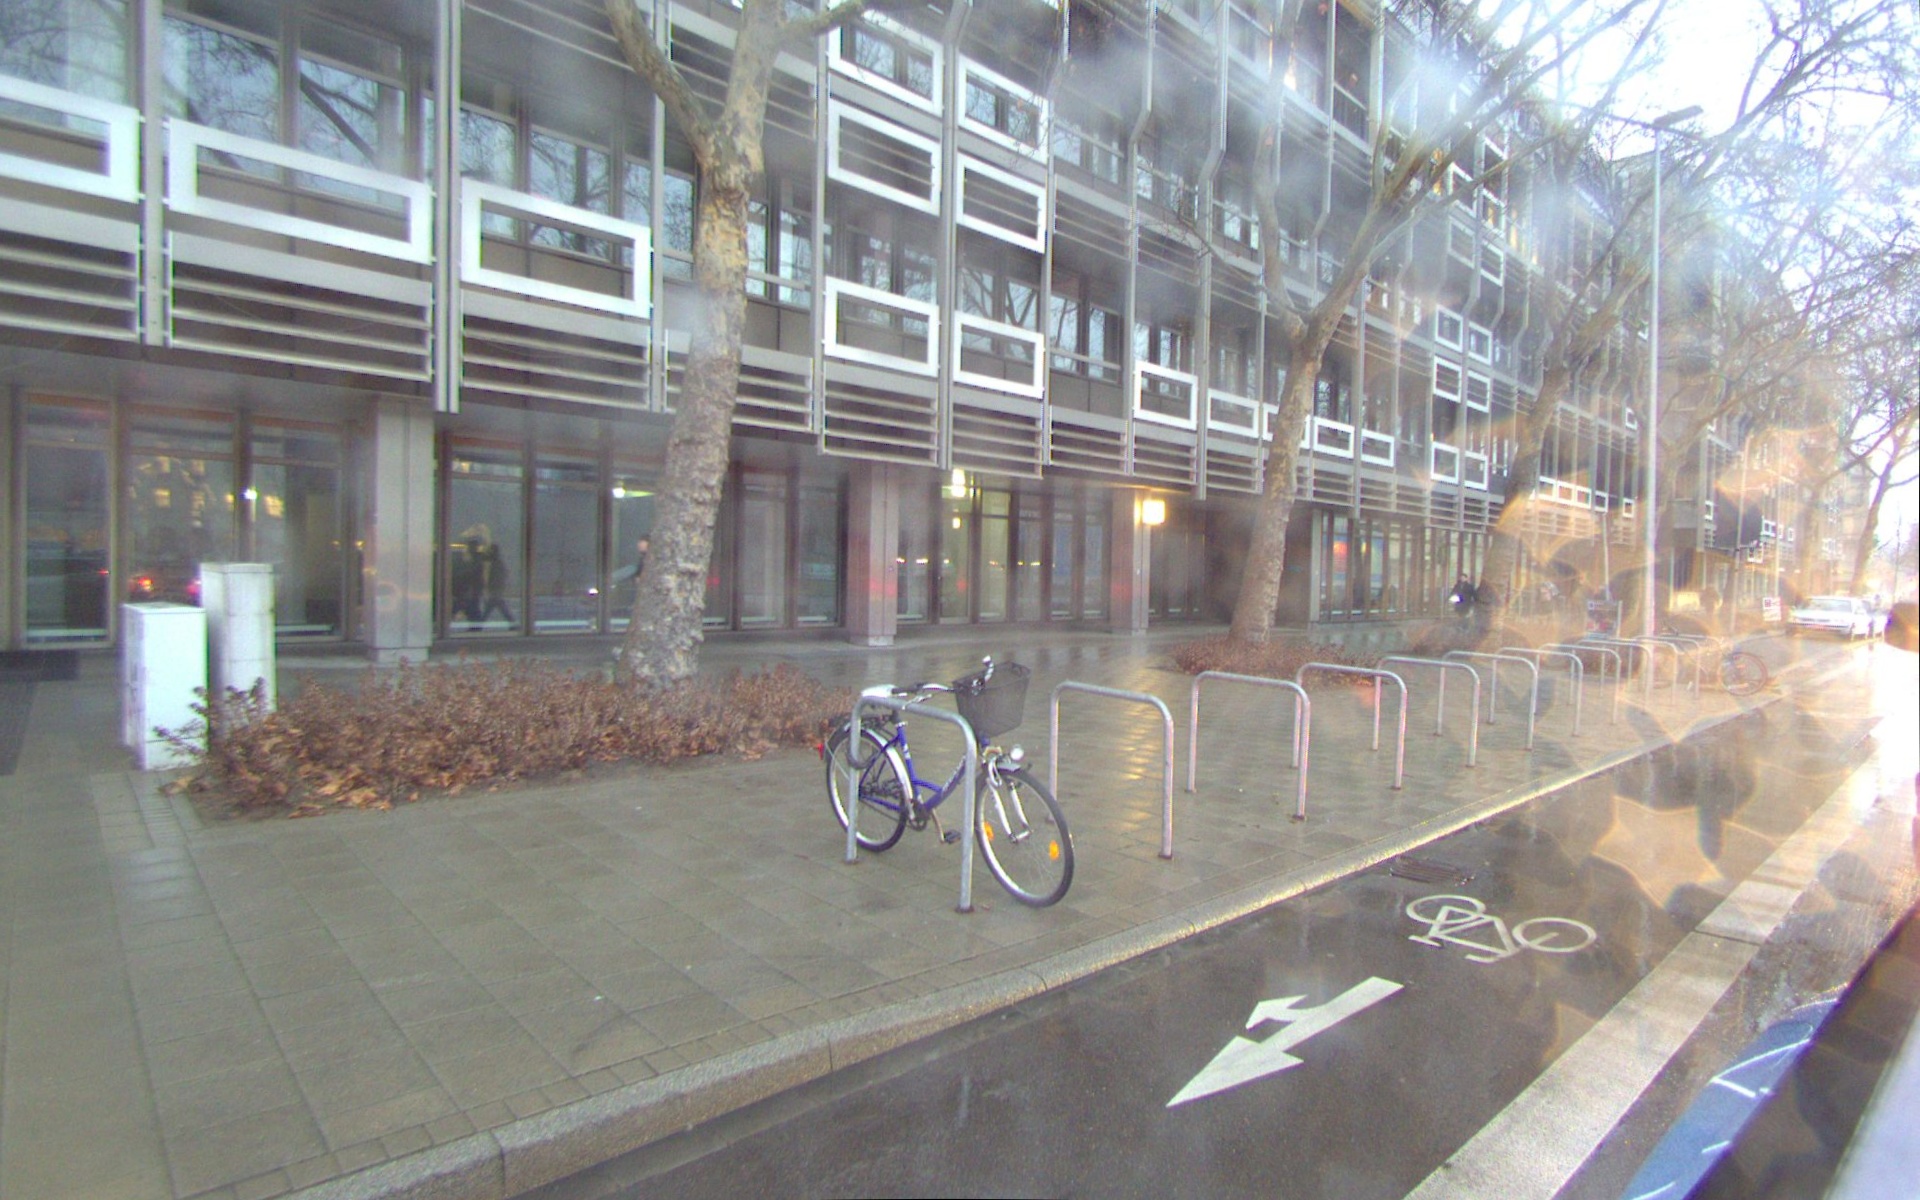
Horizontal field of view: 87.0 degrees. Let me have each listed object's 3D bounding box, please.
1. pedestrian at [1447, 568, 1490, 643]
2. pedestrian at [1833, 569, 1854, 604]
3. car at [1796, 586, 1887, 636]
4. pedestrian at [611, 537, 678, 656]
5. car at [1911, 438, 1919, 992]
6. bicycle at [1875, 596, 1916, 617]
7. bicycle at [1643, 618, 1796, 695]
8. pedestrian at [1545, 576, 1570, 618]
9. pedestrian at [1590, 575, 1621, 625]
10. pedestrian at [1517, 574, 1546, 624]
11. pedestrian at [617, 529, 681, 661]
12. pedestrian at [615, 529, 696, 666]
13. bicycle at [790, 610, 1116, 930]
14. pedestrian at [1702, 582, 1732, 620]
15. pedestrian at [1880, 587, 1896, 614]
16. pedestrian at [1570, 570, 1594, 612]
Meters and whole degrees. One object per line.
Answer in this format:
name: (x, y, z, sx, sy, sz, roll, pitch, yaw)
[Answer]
pedestrian: (14.127, 0.131, 28.097, 0.723, 2.039, 0.821, 0, 1, -43)
pedestrian: (52.730, -0.804, 60.420, 1.007, 2.039, 0.790, 0, 1, -41)
car: (29.427, 0.323, 33.756, 3.859, 1.449, 1.609, 0, 4, -39)
pedestrian: (-4.318, -0.059, 13.865, 0.733, 1.583, 0.484, 0, 1, -42)
car: (5.604, 0.422, 4.321, 3.930, 2.039, 1.857, 0, 1, -41)
bicycle: (47.004, 0.321, 50.875, 1.518, 1.049, 0.462, 0, 1, 42)
bicycle: (11.654, 0.836, 15.570, 0.607, 0.986, 1.789, 0, 3, -45)
pedestrian: (20.091, -0.112, 34.050, 0.492, 1.386, 0.494, 1, 1, -3)
pedestrian: (20.533, -0.018, 32.170, 0.604, 1.563, 0.649, 0, 1, -40)
pedestrian: (19.495, -0.028, 34.508, 0.767, 1.677, 0.617, 0, 1, -41)
pedestrian: (-4.110, -0.074, 13.394, 0.701, 1.689, 0.379, 0, 1, -41)
pedestrian: (-3.886, -0.044, 12.936, 0.858, 1.689, 0.501, 0, 2, -41)
bicycle: (-0.112, 0.692, 4.841, 0.428, 1.162, 1.752, 0, 4, -44)
pedestrian: (31.910, 0.035, 42.638, 0.824, 1.543, 0.865, 0, 2, -44)
pedestrian: (71.042, 0.046, 77.499, 0.758, 2.039, 0.837, -1, 0, -42)
pedestrian: (25.369, -0.374, 41.278, 0.640, 1.675, 0.829, 2, 2, 44)
